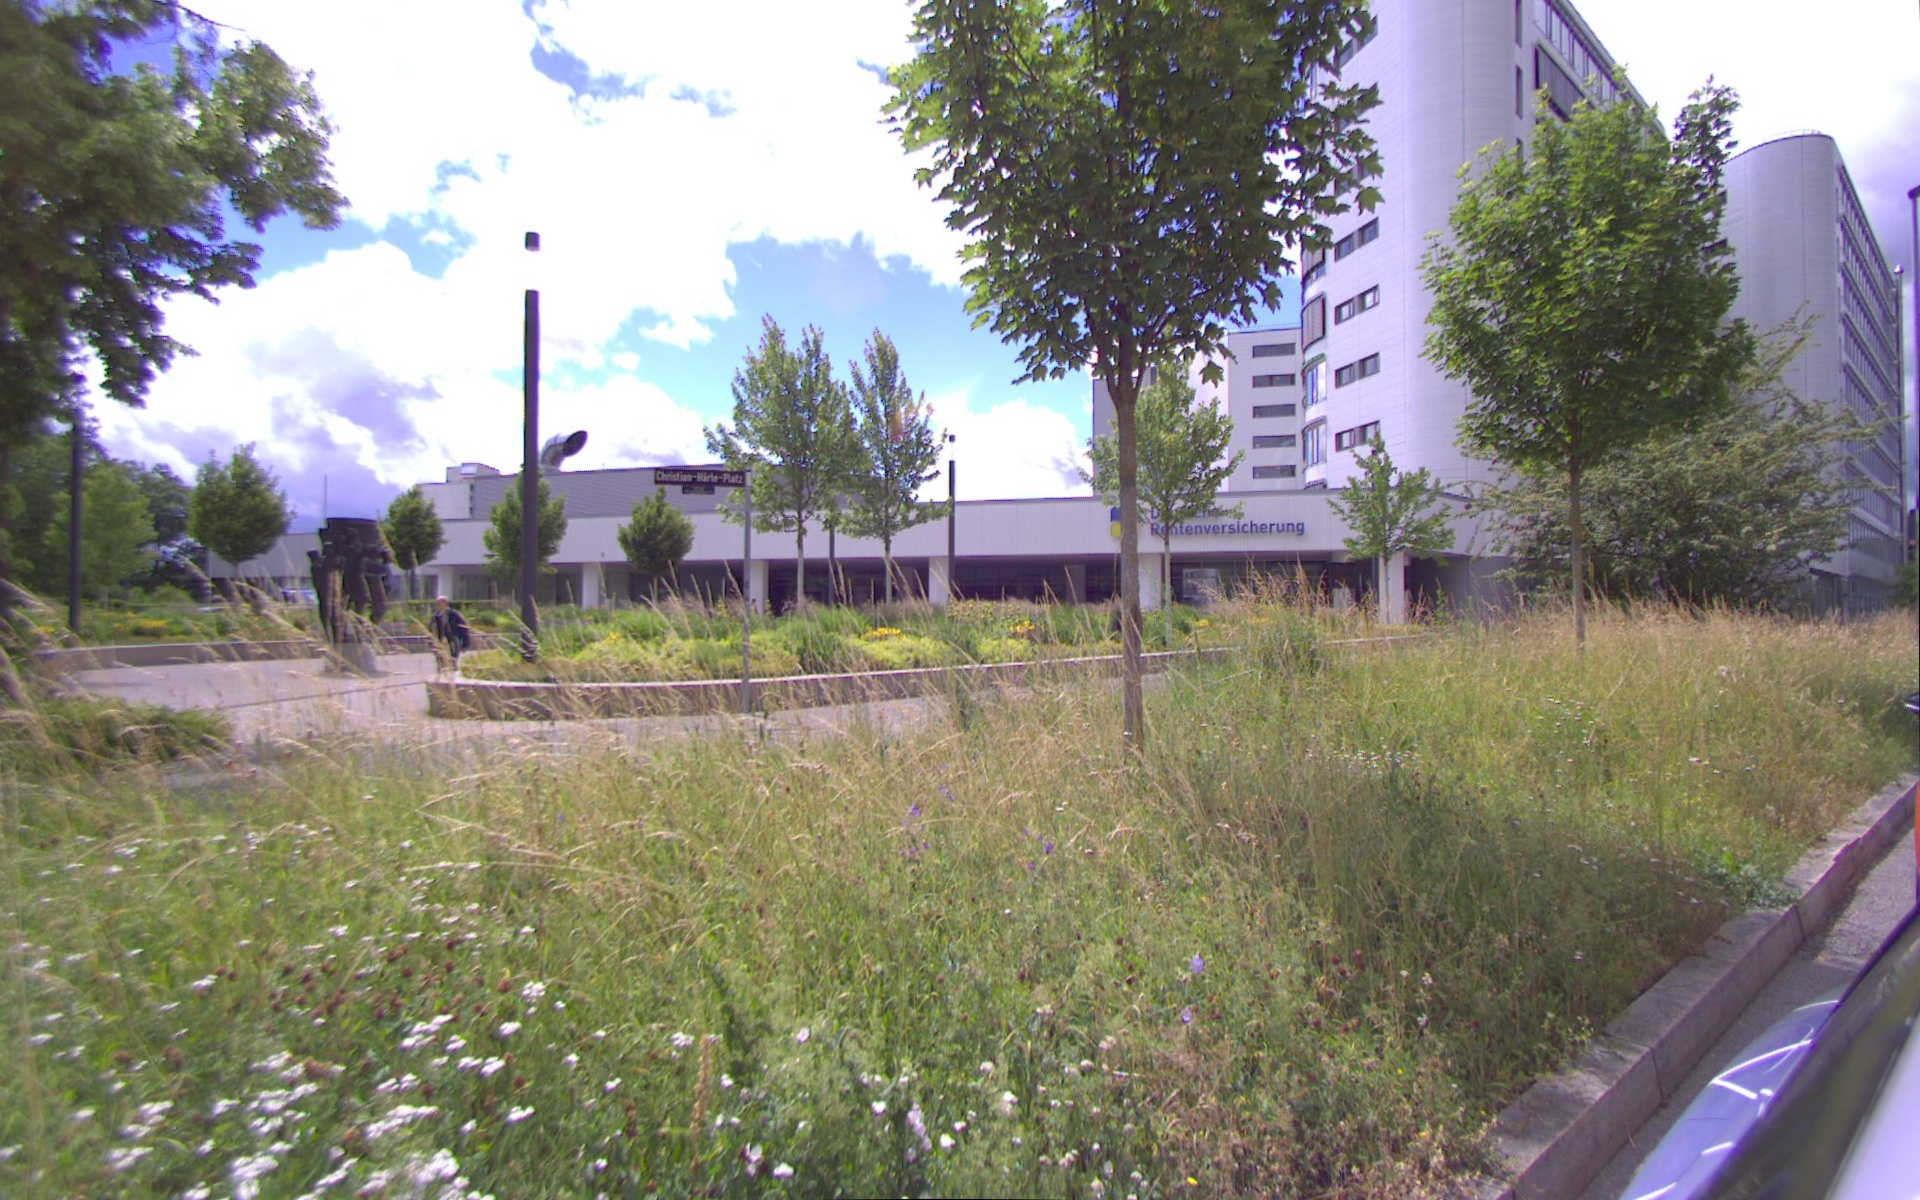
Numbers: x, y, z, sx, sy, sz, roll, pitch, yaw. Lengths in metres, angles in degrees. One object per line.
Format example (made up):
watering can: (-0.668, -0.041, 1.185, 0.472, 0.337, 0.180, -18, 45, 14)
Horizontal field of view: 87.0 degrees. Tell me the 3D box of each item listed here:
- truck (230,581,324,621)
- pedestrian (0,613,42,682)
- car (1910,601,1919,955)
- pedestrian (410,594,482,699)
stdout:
truck: (-36.130, 0.058, 53.571, 3.941, 2.039, 1.991, 1, 0, 14)
pedestrian: (-17.410, 0.860, 18.675, 0.621, 1.238, 0.620, 1, 0, -36)
car: (5.814, 0.753, 4.628, 3.611, 1.434, 1.748, 0, 1, -41)
pedestrian: (-8.303, 0.730, 16.379, 0.758, 1.646, 0.764, 0, 0, 2)
